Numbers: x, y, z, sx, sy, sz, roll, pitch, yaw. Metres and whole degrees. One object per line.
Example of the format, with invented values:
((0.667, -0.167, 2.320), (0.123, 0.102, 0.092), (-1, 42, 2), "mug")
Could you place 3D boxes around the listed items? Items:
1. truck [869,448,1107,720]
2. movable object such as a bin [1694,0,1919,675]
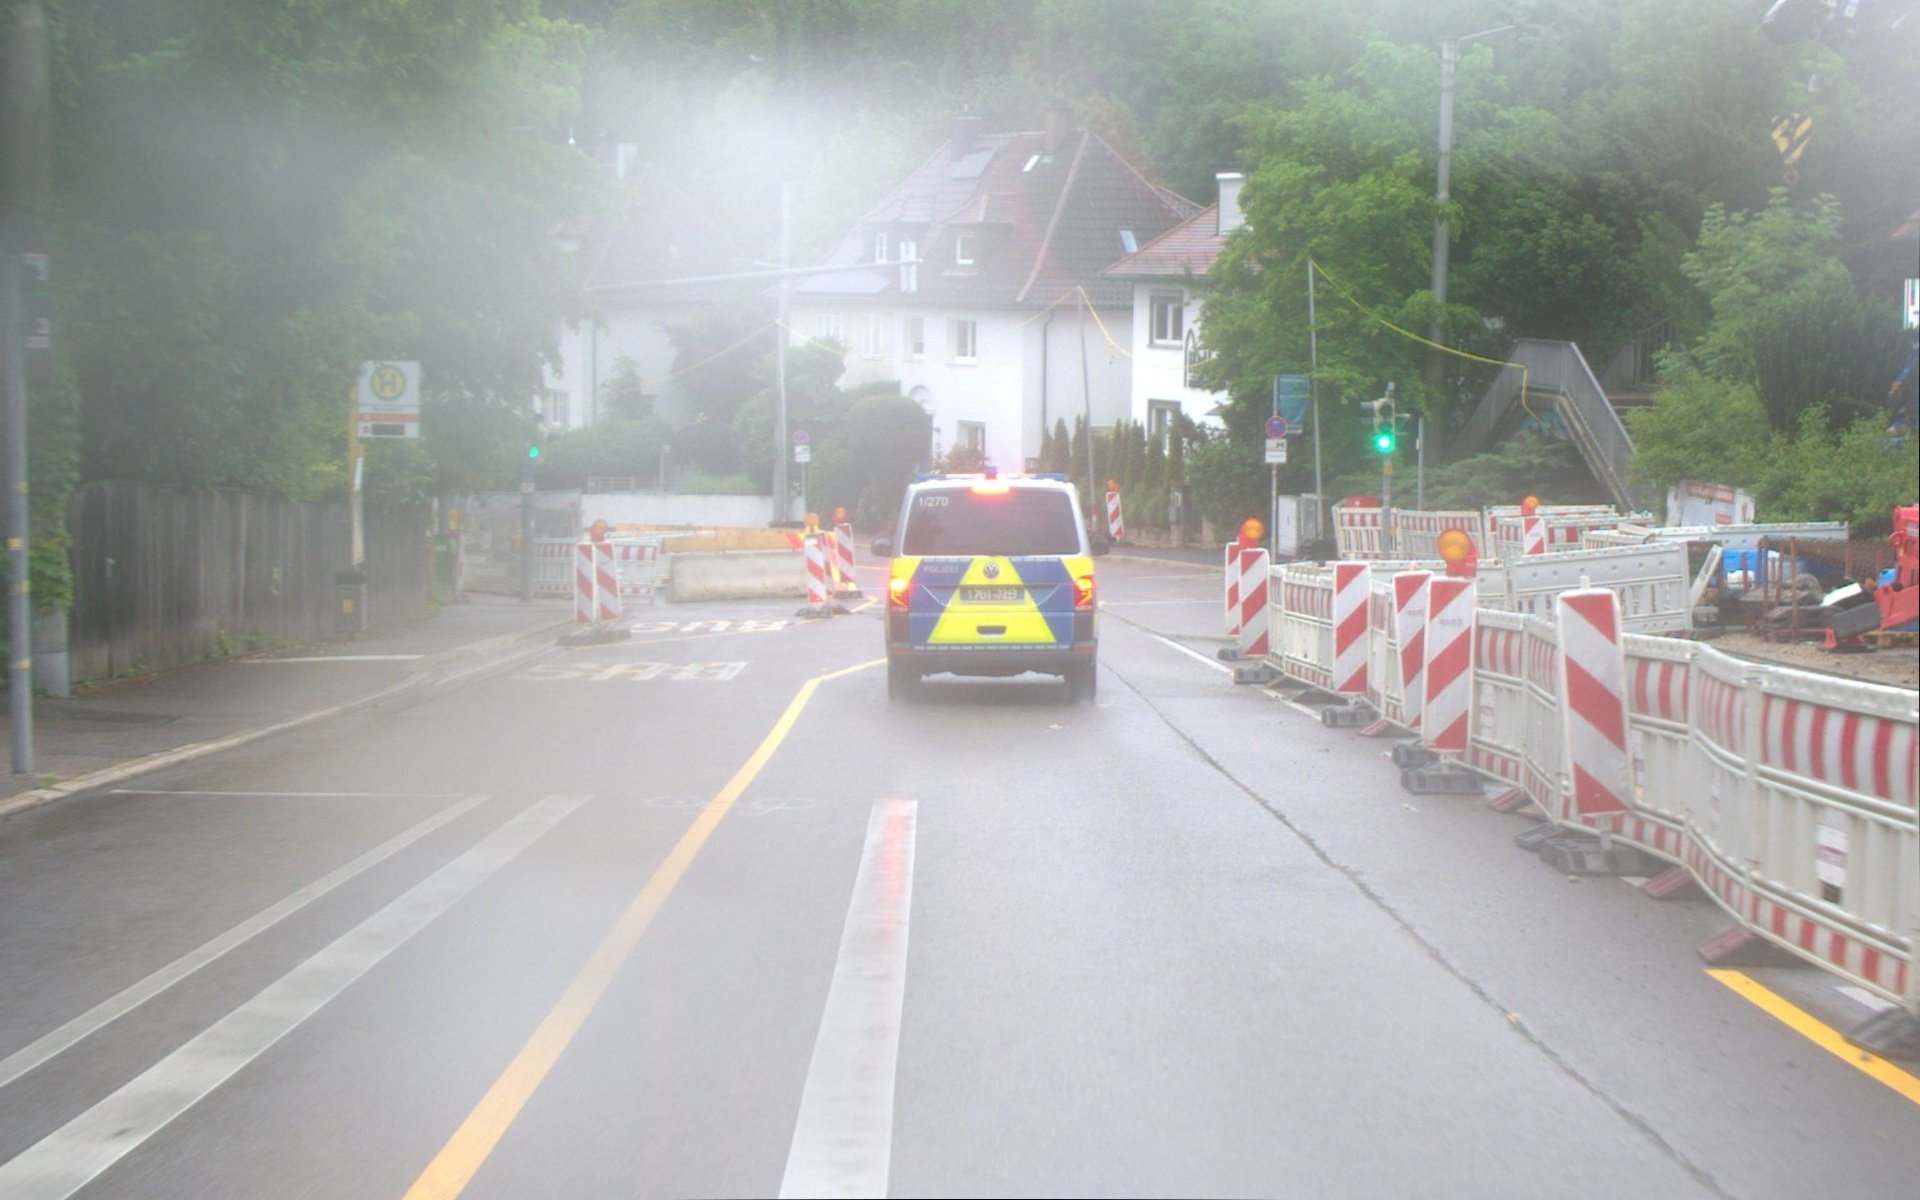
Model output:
((0.275, -0.234, 31.425), (1.993, 2.006, 4.736), (-1, 6, 1), "truck")
((10.741, -2.696, 32.133), (6.948, 6.666, 3.046), (0, 1, -4), "movable object such as a bin")
